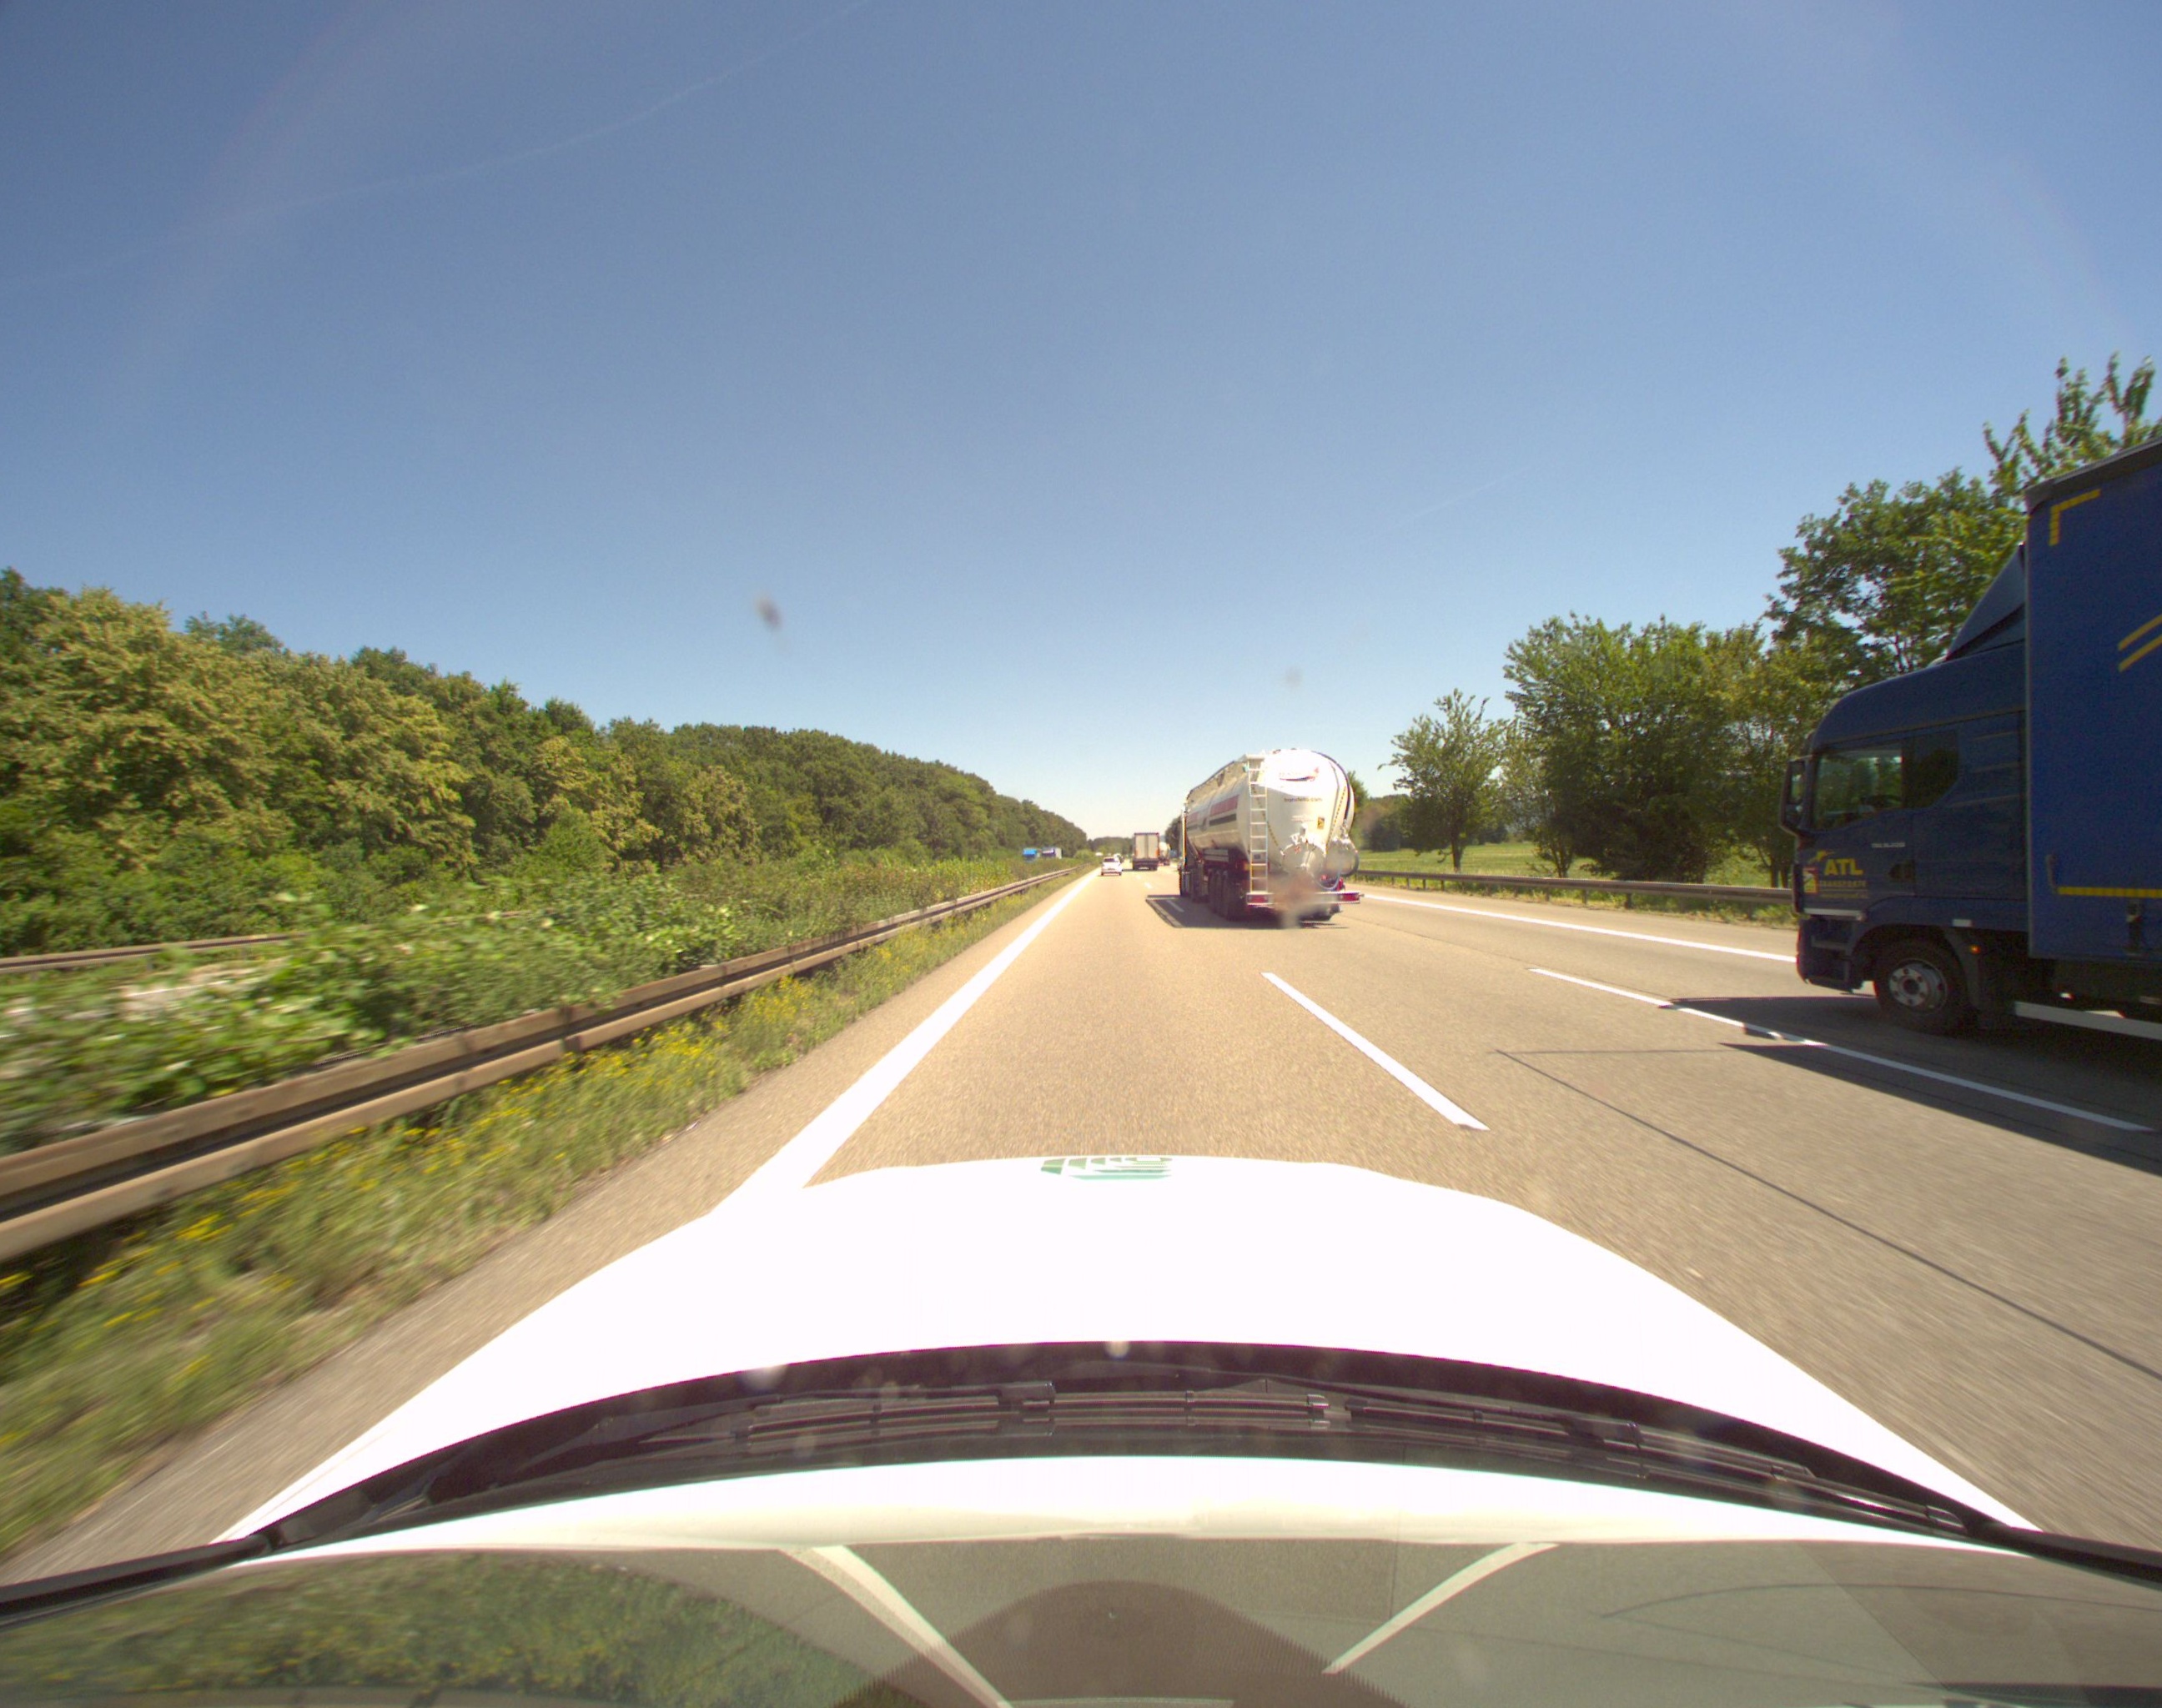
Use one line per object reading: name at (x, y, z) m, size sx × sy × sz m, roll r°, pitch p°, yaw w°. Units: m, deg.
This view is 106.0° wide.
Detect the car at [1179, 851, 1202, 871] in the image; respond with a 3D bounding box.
car at (11.347, 0.752, 84.787) m, size 1.848 × 2.003 × 5.525 m, roll 0°, pitch 0°, yaw 3°

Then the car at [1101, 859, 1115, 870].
car at (3.553, 1.342, 106.728) m, size 1.661 × 1.289 × 4.003 m, roll -2°, pitch 0°, yaw 3°

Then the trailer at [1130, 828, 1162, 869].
trailer at (7.261, -0.534, 90.658) m, size 3.208 × 4.143 × 12.367 m, roll -2°, pitch 0°, yaw 5°

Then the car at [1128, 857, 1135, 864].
car at (12.710, 1.562, 204.591) m, size 1.661 × 1.765 × 4.003 m, roll -2°, pitch 0°, yaw 3°

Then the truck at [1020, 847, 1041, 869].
truck at (-10.039, 0.794, 162.151) m, size 3.001 × 4.114 × 10.007 m, roll -2°, pitch 0°, yaw 3°

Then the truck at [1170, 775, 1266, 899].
truck at (5.025, -0.581, 30.699) m, size 2.780 × 4.204 × 5.002 m, roll -2°, pitch 0°, yaw 1°

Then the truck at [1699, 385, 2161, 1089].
truck at (7.816, -0.728, 3.157) m, size 2.780 × 4.204 × 10.810 m, roll -2°, pitch 0°, yaw 2°

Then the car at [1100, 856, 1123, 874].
car at (2.529, 0.891, 67.514) m, size 1.805 × 1.405 × 3.318 m, roll -2°, pitch 0°, yaw 1°

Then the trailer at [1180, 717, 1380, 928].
trailer at (4.797, -0.619, 22.714) m, size 2.780 × 4.204 × 12.357 m, roll -2°, pitch 0°, yaw 2°

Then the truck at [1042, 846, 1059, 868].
truck at (-5.754, 0.609, 154.285) m, size 2.858 × 4.009 × 5.003 m, roll -2°, pitch 0°, yaw 3°

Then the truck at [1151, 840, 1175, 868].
truck at (13.680, 0.039, 136.746) m, size 3.212 × 4.345 × 10.810 m, roll -2°, pitch 0°, yaw 2°
